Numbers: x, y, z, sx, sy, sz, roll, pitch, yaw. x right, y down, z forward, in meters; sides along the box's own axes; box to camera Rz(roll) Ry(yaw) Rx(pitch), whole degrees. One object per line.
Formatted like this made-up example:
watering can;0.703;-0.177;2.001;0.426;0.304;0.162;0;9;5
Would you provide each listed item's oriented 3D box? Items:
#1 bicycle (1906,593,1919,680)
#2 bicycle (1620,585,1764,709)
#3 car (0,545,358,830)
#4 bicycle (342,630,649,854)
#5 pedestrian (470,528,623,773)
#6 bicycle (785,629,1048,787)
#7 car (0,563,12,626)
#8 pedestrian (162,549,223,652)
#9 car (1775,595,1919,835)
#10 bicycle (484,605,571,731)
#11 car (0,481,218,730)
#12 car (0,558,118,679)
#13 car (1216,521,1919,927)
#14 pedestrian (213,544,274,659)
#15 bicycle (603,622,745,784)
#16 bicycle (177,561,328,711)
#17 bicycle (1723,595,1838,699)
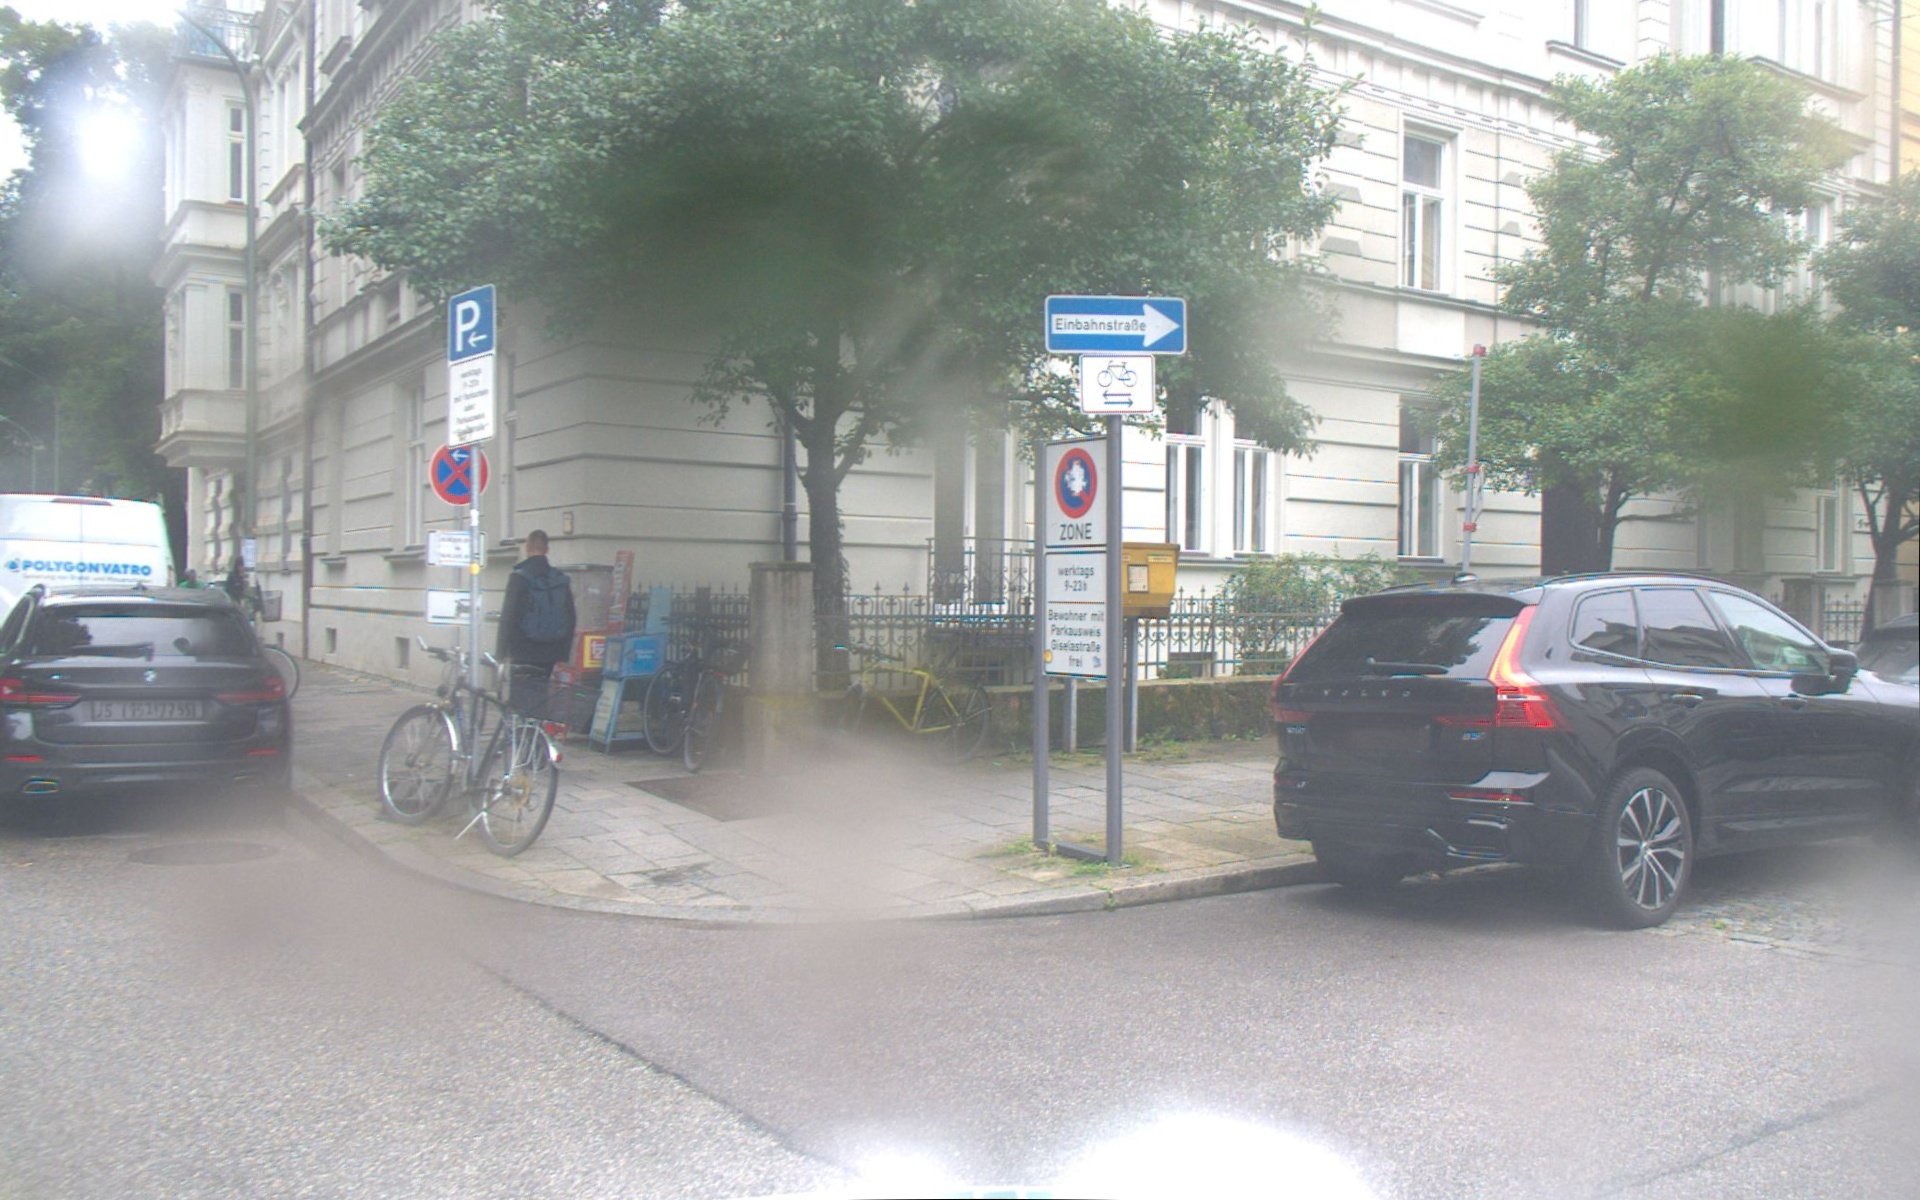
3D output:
bicycle;13.235;0.477;21.933;1.809;1.121;0.368;0;1;-32
bicycle;7.932;0.491;17.881;1.957;1.270;0.496;0;1;-36
car;-5.801;0.457;11.529;2.249;1.573;4.540;-1;1;-30
bicycle;-2.708;0.750;9.476;2.163;1.046;0.652;2;2;42
pedestrian;-3.063;0.343;12.221;0.849;1.719;0.965;-1;1;-31
bicycle;-0.304;0.759;12.143;1.902;1.046;0.551;0;2;-30
car;-31.846;-0.195;53.582;1.973;2.010;3.959;0;1;-30
pedestrian;-12.952;0.002;27.906;0.850;1.717;0.768;0;0;-32
car;8.142;0.721;12.171;5.124;1.531;1.786;0;-2;-38
bicycle;-4.059;0.598;15.438;0.539;1.079;1.738;0;1;-23
car;-9.428;0.024;17.382;2.184;2.246;4.798;-1;1;-34
car;-14.083;0.236;24.787;2.120;1.658;4.265;-1;1;-34
car;3.897;0.576;9.120;4.996;1.681;1.919;1;-3;-36
pedestrian;-11.928;0.019;27.540;0.850;1.867;0.660;0;0;-32
bicycle;-2.186;0.729;12.465;0.425;1.046;1.871;0;2;-30
bicycle;-7.690;0.352;17.939;2.001;1.542;0.706;1;1;41
bicycle;9.515;0.528;19.152;1.866;1.152;0.359;0;1;-36
